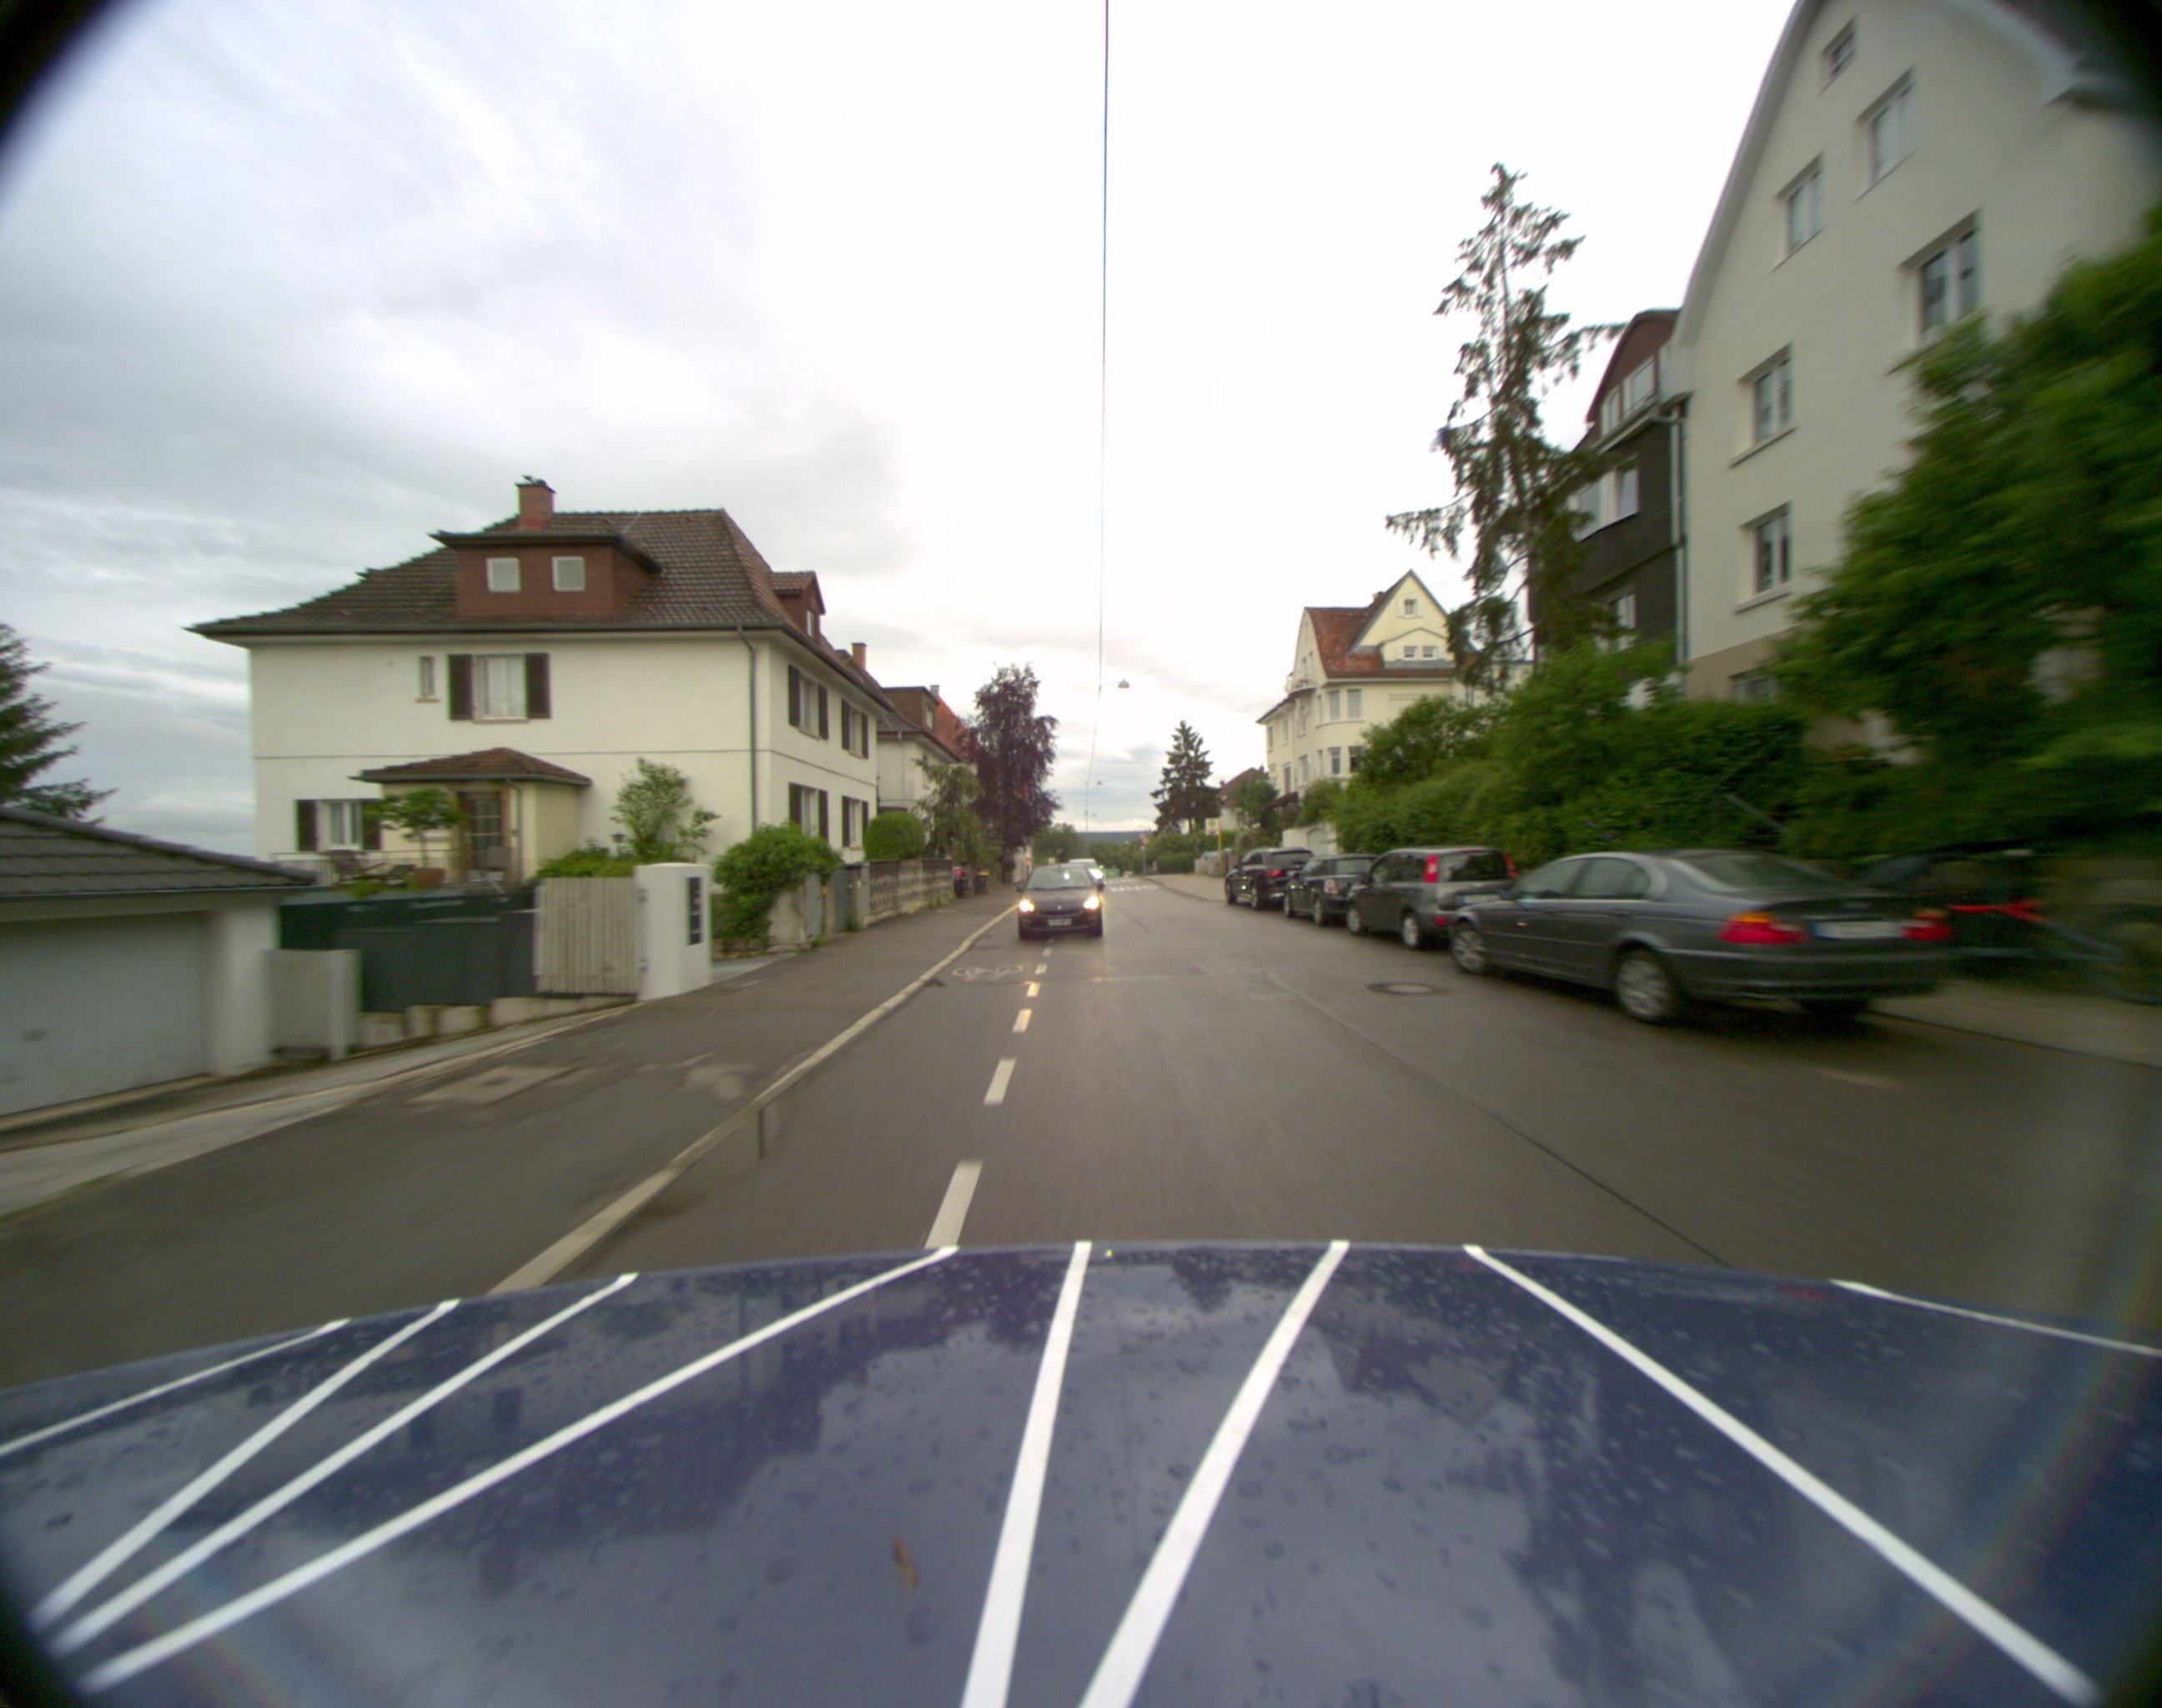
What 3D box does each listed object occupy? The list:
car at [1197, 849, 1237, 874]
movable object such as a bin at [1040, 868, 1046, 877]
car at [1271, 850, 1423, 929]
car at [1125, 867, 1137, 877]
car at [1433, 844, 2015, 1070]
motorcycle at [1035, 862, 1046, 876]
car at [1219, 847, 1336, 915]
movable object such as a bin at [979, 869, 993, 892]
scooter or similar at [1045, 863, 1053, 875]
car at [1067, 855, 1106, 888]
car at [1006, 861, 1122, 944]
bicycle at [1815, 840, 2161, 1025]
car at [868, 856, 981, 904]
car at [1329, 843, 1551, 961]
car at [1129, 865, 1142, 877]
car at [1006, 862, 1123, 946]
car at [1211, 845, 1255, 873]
[{"bbox_3d":[9.658,0.546,54.238,1.771,1.608,4.000,-2,-1,-4],"label":"car"},{"bbox_3d":[-4.018,1.971,80.568,0.533,0.913,0.488,1,-1,-2],"label":"movable object such as a bin"},{"bbox_3d":[5.570,0.731,16.448,1.898,1.438,3.814,-2,-1,0],"label":"car"},{"bbox_3d":[8.045,2.894,123.250,1.868,1.491,4.002,-2,-1,3],"label":"car"},{"bbox_3d":[5.329,0.747,7.296,1.760,1.438,4.417,-2,-1,-1],"label":"car"},{"bbox_3d":[-3.767,1.416,71.229,0.694,1.218,2.154,4,-1,4],"label":"motorcycle"},{"bbox_3d":[5.356,0.688,21.314,1.898,1.613,4.377,-3,0,-3],"label":"car"},{"bbox_3d":[-4.089,1.154,32.751,0.495,0.950,0.503,-2,-1,-2],"label":"movable object such as a bin"},{"bbox_3d":[-3.880,1.800,92.822,0.355,1.394,1.481,-3,-1,25],"label":"scooter or similar"},{"bbox_3d":[0.286,0.909,39.975,1.928,1.577,4.001,-2,-1,0],"label":"car"},{"bbox_3d":[-0.216,0.939,16.296,1.710,1.414,4.002,-3,0,9],"label":"car"},{"bbox_3d":[7.959,0.576,6.543,1.006,1.293,2.291,-2,-1,0],"label":"bicycle"},{"bbox_3d":[-6.064,1.010,29.807,3.997,1.630,1.919,-2,-1,0],"label":"car"},{"bbox_3d":[5.534,0.660,12.284,1.701,1.532,3.813,-3,0,-1],"label":"car"},{"bbox_3d":[7.903,2.483,109.858,1.594,1.482,3.438,-3,-2,1],"label":"car"},{"bbox_3d":[-0.216,1.003,16.315,1.695,1.482,3.944,-4,-2,10],"label":"car"},{"bbox_3d":[9.932,0.350,50.001,1.771,1.686,4.000,-2,-1,-4],"label":"car"}]
